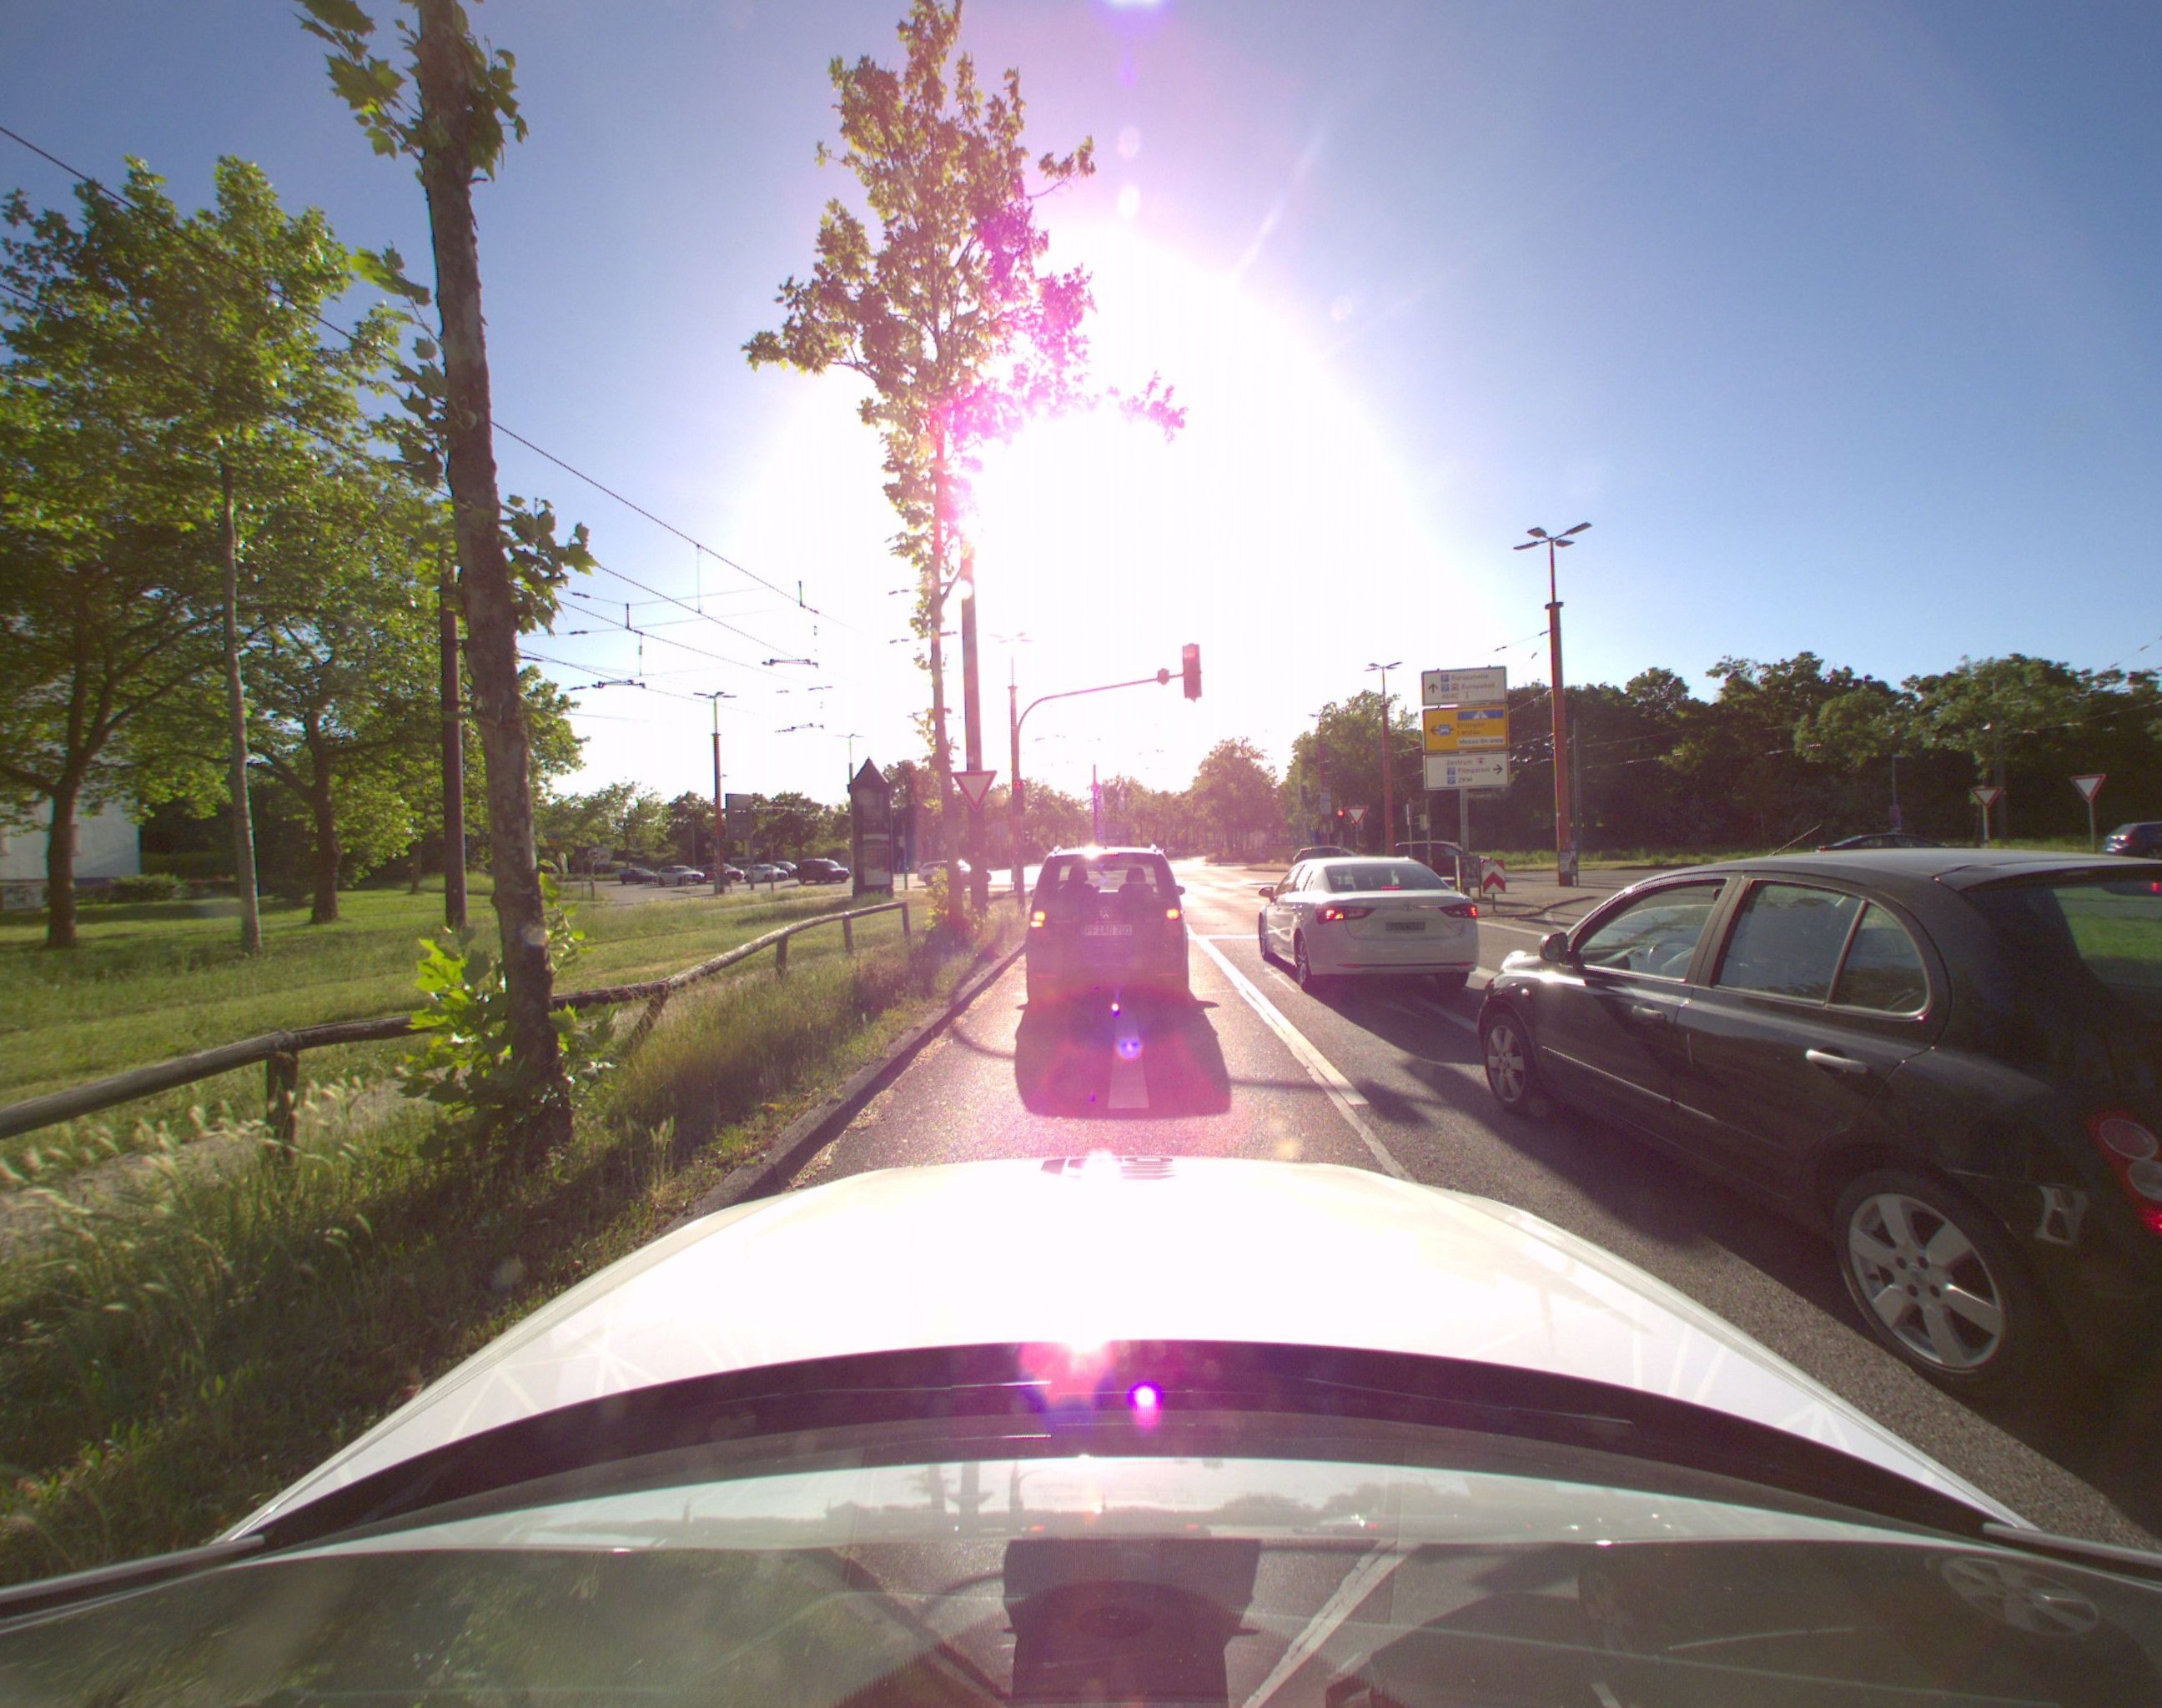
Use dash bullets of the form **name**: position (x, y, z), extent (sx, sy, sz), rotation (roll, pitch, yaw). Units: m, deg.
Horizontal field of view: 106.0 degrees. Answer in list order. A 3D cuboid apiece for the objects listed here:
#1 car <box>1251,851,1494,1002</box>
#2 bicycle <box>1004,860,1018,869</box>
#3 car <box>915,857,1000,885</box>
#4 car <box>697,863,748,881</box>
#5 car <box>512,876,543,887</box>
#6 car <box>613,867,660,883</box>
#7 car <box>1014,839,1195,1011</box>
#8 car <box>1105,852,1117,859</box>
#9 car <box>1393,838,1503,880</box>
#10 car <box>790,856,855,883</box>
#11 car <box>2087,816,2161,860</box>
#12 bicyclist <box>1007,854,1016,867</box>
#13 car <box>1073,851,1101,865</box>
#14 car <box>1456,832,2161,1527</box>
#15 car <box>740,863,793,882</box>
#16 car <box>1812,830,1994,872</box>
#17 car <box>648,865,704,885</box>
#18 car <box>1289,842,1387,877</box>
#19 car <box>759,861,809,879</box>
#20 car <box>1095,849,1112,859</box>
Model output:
- **car**: position (3.297, 0.720, 10.107), extent (1.708, 1.454, 4.147), rotation (-2, 0, 3)
- **bicycle**: position (-8.145, 1.228, 94.784), extent (0.728, 1.090, 1.971), rotation (-2, 0, 21)
- **car**: position (-7.611, 1.050, 50.069), extent (4.867, 1.575, 2.012), rotation (-2, 0, 28)
- **car**: position (-31.717, 1.572, 72.063), extent (4.318, 1.464, 1.926), rotation (-2, 0, 29)
- **car**: position (-82.891, 4.095, 122.042), extent (4.411, 1.596, 2.012), rotation (-2, 0, 29)
- **car**: position (-42.355, 1.988, 77.639), extent (4.187, 1.464, 1.926), rotation (-2, 0, 28)
- **car**: position (0.296, 0.697, 9.980), extent (1.731, 1.641, 4.002), rotation (-2, 0, 2)
- **car**: position (5.853, 0.201, 159.373), extent (1.646, 1.310, 3.829), rotation (-2, 0, 14)
- **car**: position (16.448, 0.244, 36.554), extent (4.302, 1.732, 1.854), rotation (-2, 0, 30)
- **car**: position (-19.429, 1.175, 61.146), extent (4.735, 1.836, 1.926), rotation (-2, 0, 29)
- **car**: position (38.145, -0.585, 27.944), extent (4.179, 1.479, 1.765), rotation (-2, 0, 32)
- **bicyclist**: position (-8.114, 0.761, 95.004), extent (0.686, 1.457, 0.879), rotation (-2, -1, 20)
- **car**: position (0.781, 0.472, 100.841), extent (1.977, 1.684, 4.853), rotation (-2, 0, 20)
- **car**: position (3.168, 0.694, 3.504), extent (1.550, 1.506, 3.517), rotation (-2, 0, 2)
- **car**: position (-26.770, 1.594, 69.243), extent (4.169, 1.464, 1.926), rotation (-2, 0, 29)
- **car**: position (29.268, -0.087, 29.191), extent (4.263, 1.327, 1.772), rotation (-2, 0, 31)
- **car**: position (-34.941, 1.788, 70.232), extent (4.735, 1.598, 1.926), rotation (-2, 0, 29)
- **car**: position (13.329, 0.293, 42.230), extent (4.507, 1.668, 1.854), rotation (-2, 0, 30)
- **car**: position (-26.531, 1.451, 72.648), extent (4.169, 1.464, 1.926), rotation (-2, 0, 29)
- **car**: position (3.716, -0.014, 132.854), extent (1.981, 1.684, 4.842), rotation (-2, 0, 10)
